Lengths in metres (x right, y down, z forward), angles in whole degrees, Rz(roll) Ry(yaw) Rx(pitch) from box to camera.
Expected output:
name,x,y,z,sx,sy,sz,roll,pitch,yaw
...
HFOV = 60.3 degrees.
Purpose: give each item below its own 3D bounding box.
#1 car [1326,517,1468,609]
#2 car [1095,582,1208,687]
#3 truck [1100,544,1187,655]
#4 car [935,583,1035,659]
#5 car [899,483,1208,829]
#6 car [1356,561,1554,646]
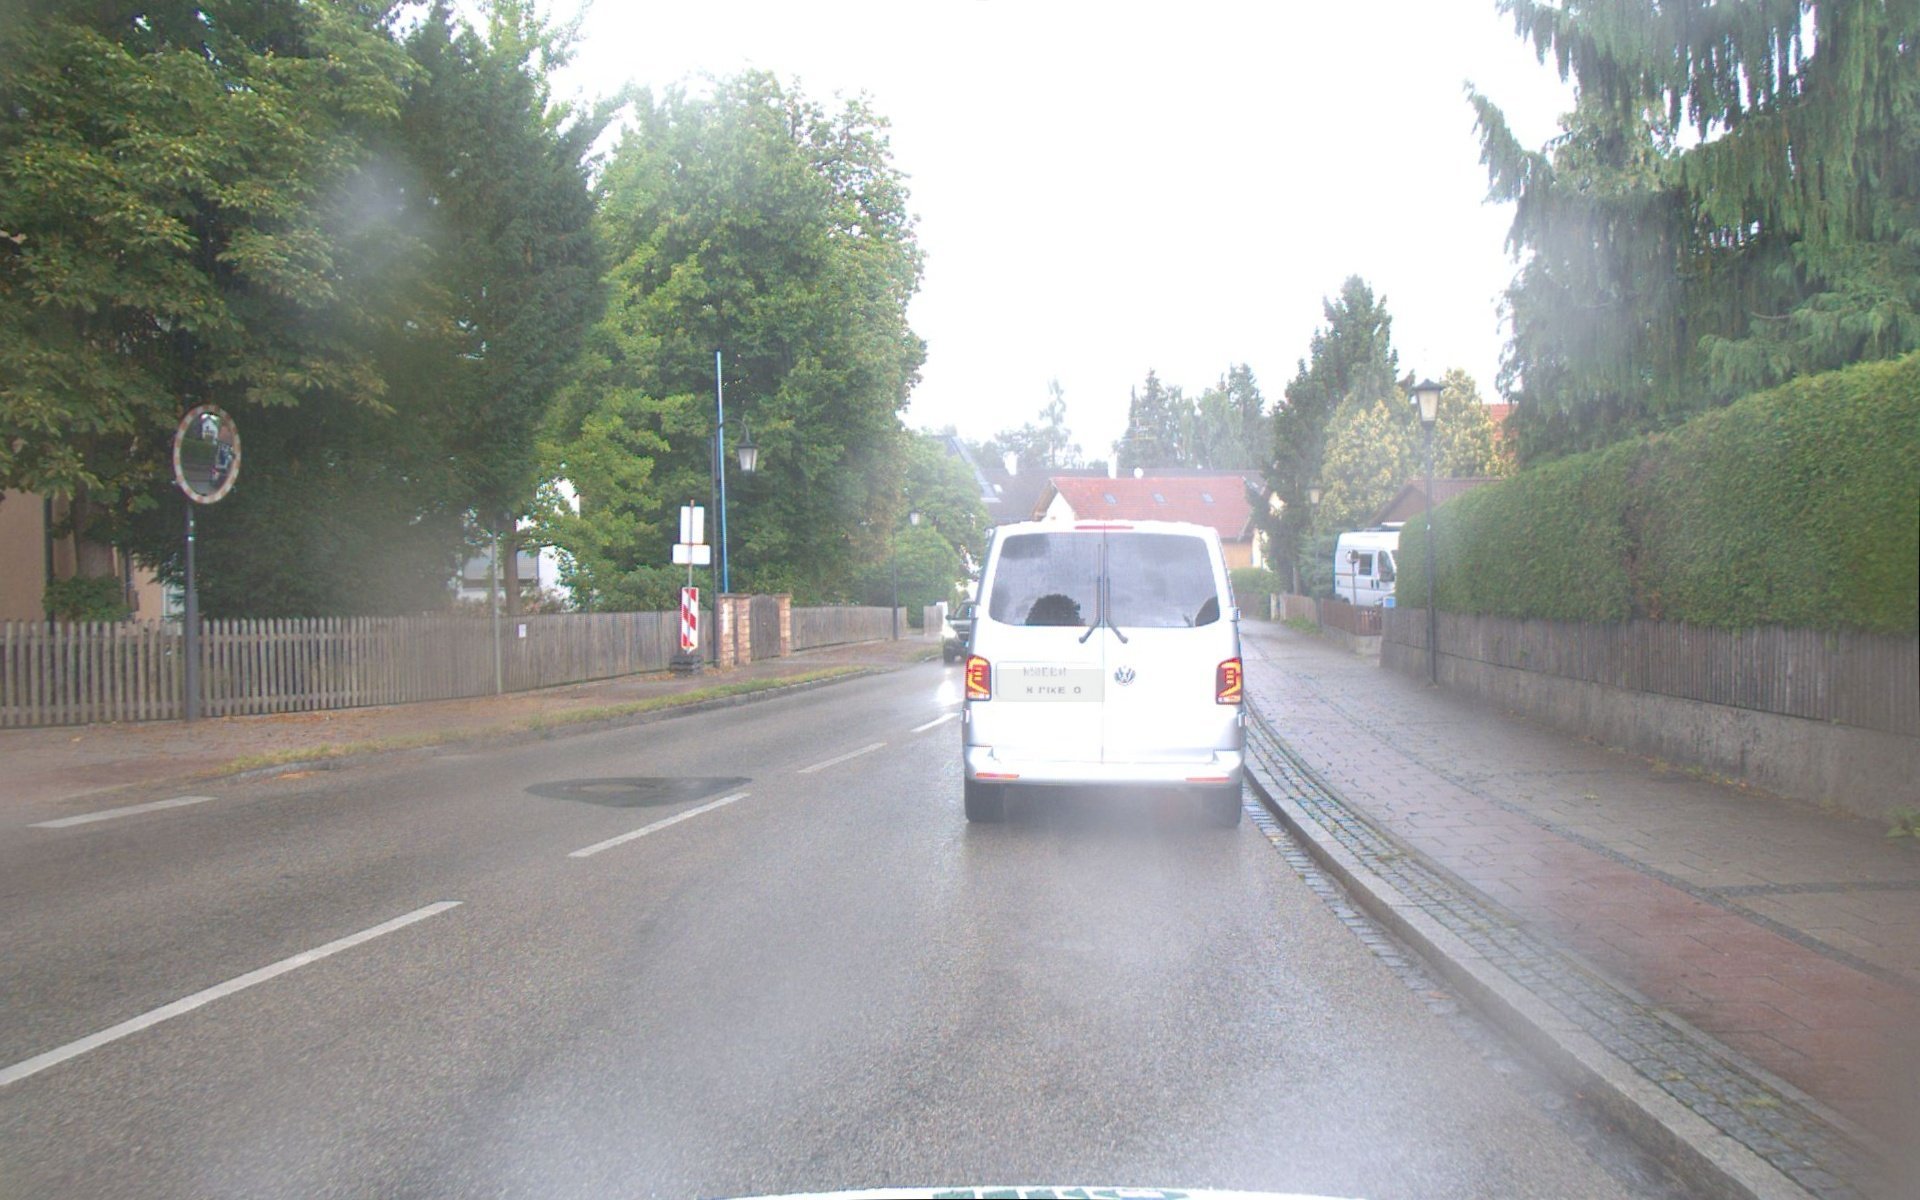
name,x,y,z,sx,sy,sz,roll,pitch,yaw
car,11.268,-0.901,43.025,1.955,2.211,4.946,1,0,-6
car,3.261,0.558,28.113,1.762,1.616,4.003,1,0,7
truck,5.614,0.017,50.291,2.423,3.128,6.300,1,-1,7
car,0.660,0.488,39.065,1.746,1.692,4.450,0,-1,9
car,0.848,0.344,11.974,1.762,2.049,4.003,1,-1,10
car,11.152,0.063,37.477,4.007,1.782,1.696,-1,2,4
